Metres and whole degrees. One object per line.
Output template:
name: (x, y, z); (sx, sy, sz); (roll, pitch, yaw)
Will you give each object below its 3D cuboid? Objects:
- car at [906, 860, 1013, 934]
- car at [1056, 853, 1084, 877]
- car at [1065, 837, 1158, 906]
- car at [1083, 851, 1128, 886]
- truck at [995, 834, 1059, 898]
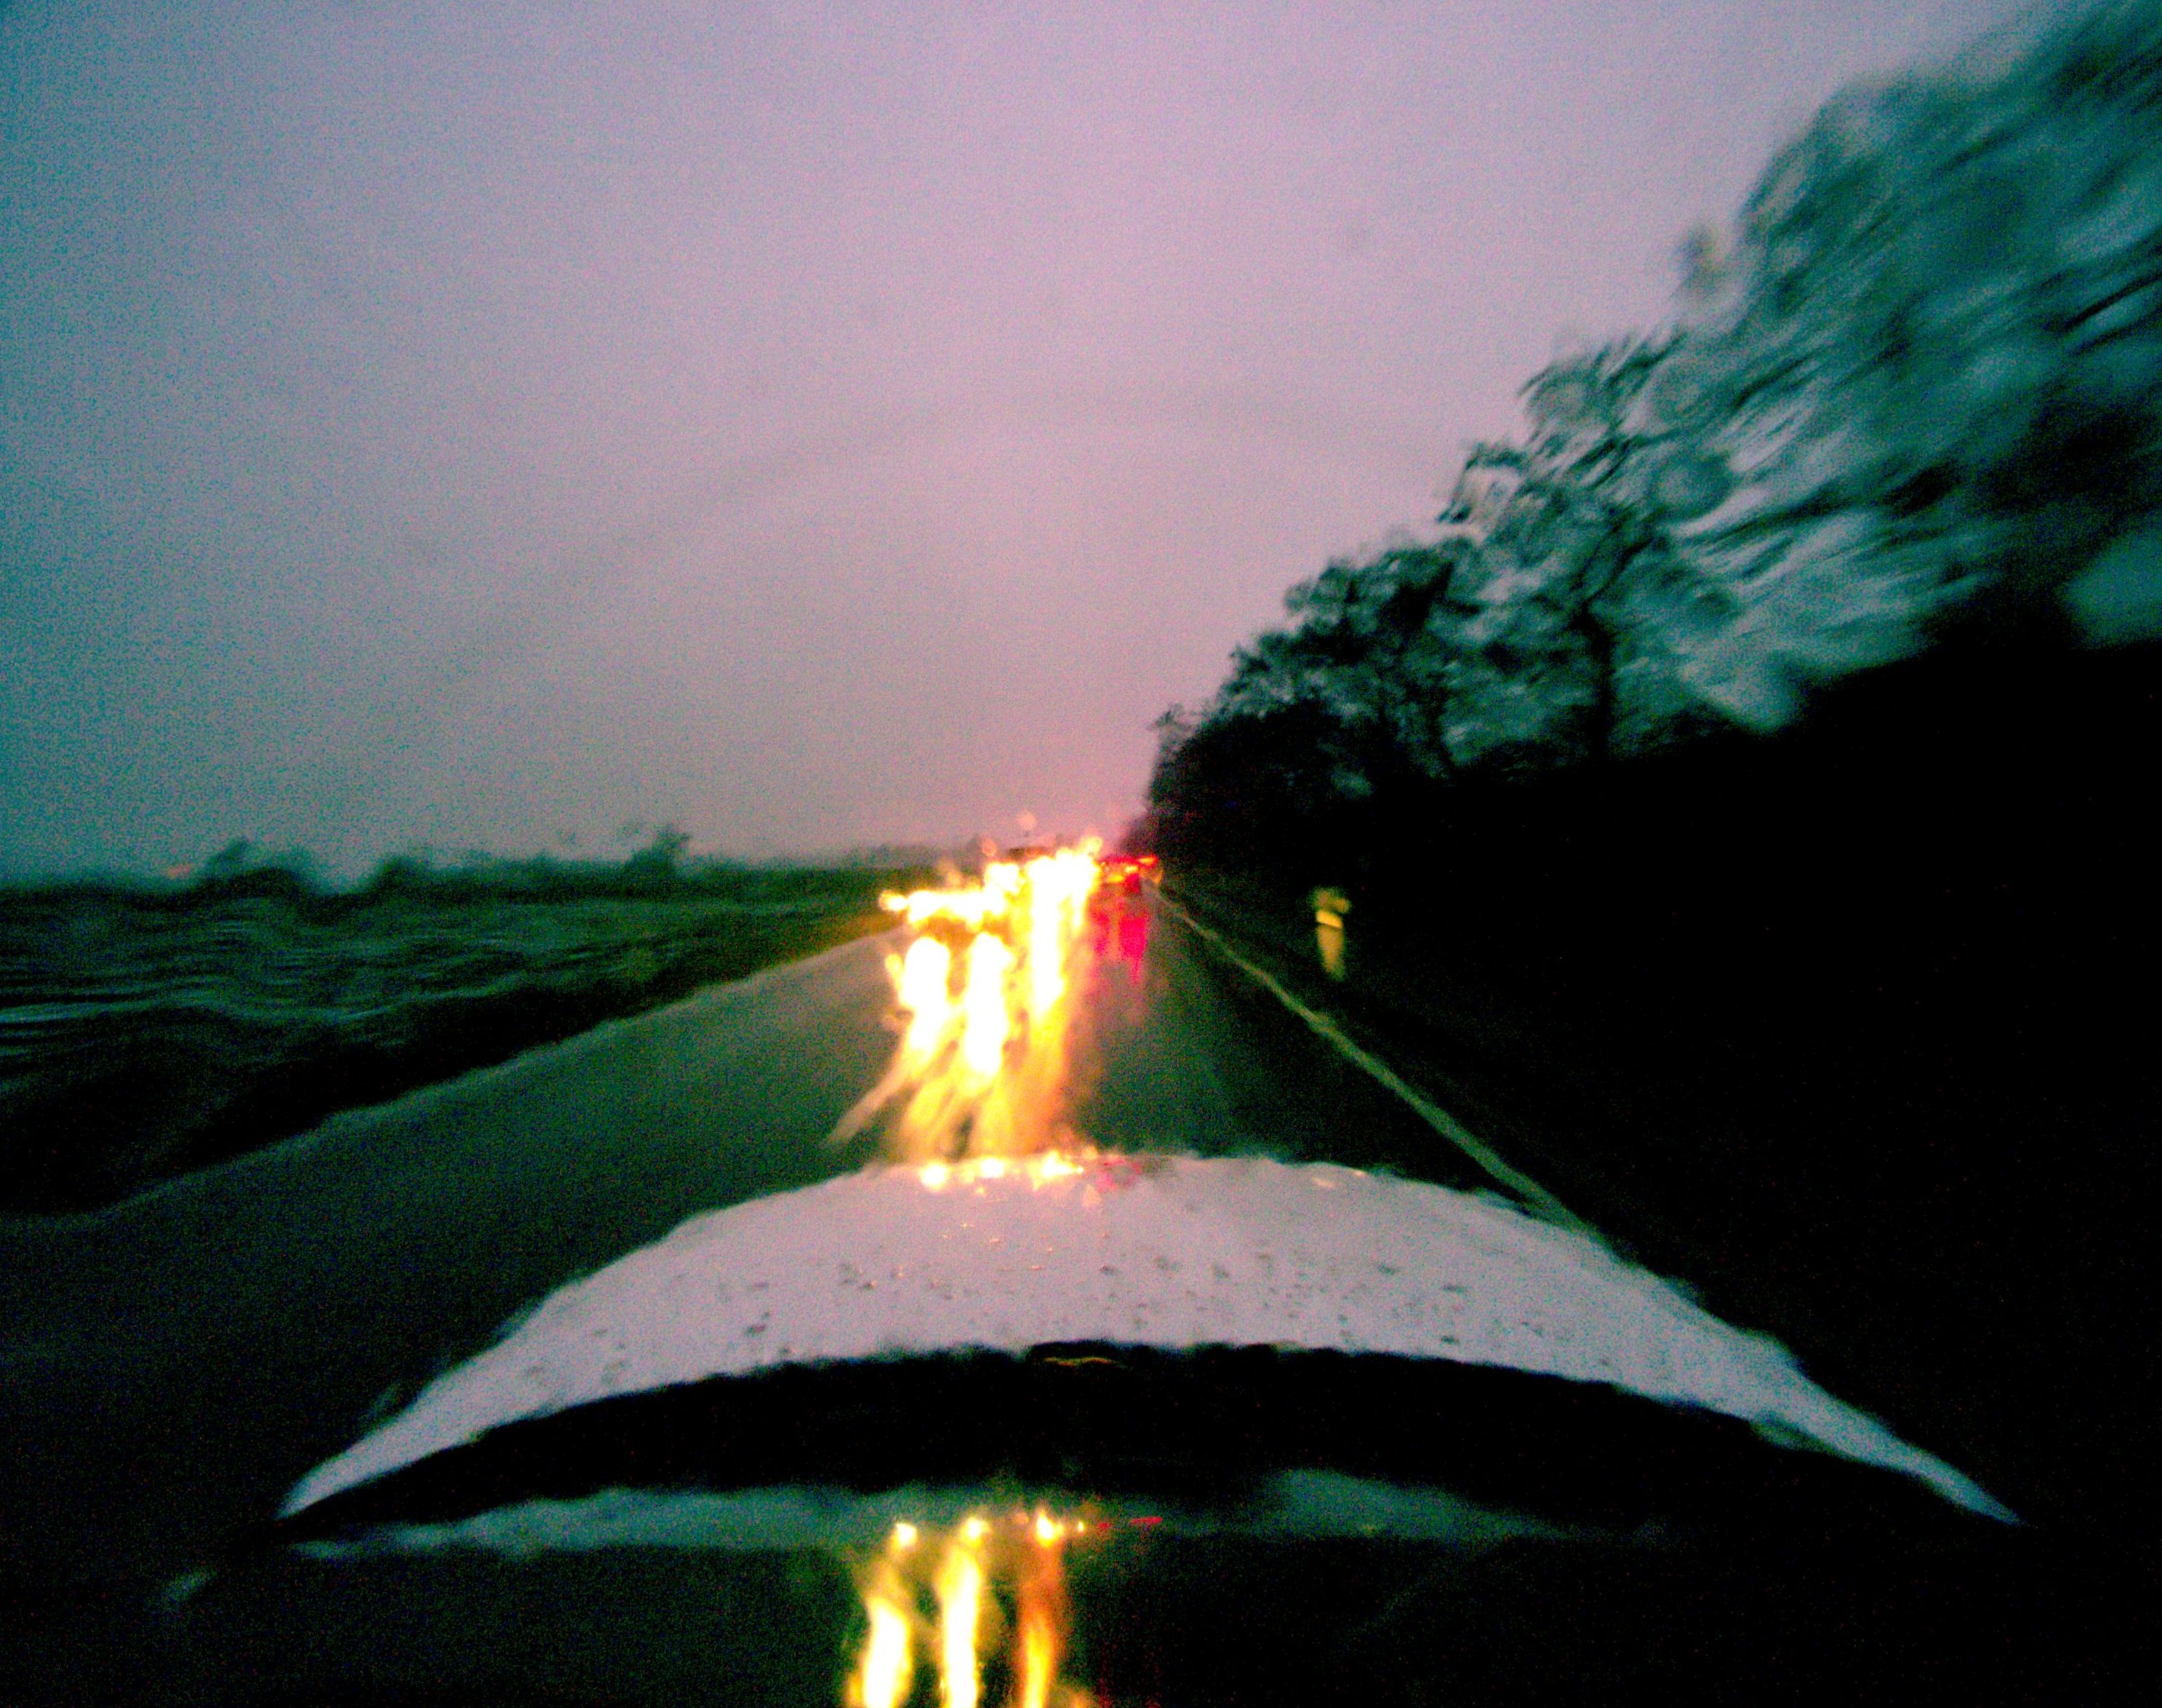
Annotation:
car: (-2.725, 0.908, 19.091); (1.722, 1.413, 4.024); (-4, 0, 1)
car: (-0.872, 0.881, 66.494); (1.986, 1.823, 4.001); (-4, 0, 1)
car: (1.072, 0.539, 27.620); (2.809, 2.077, 5.808); (0, 0, 3)
car: (1.550, 0.868, 49.958); (2.581, 2.014, 5.808); (0, 0, 3)
truck: (-2.467, 0.526, 39.282); (2.261, 2.634, 7.036); (-4, 0, 1)
